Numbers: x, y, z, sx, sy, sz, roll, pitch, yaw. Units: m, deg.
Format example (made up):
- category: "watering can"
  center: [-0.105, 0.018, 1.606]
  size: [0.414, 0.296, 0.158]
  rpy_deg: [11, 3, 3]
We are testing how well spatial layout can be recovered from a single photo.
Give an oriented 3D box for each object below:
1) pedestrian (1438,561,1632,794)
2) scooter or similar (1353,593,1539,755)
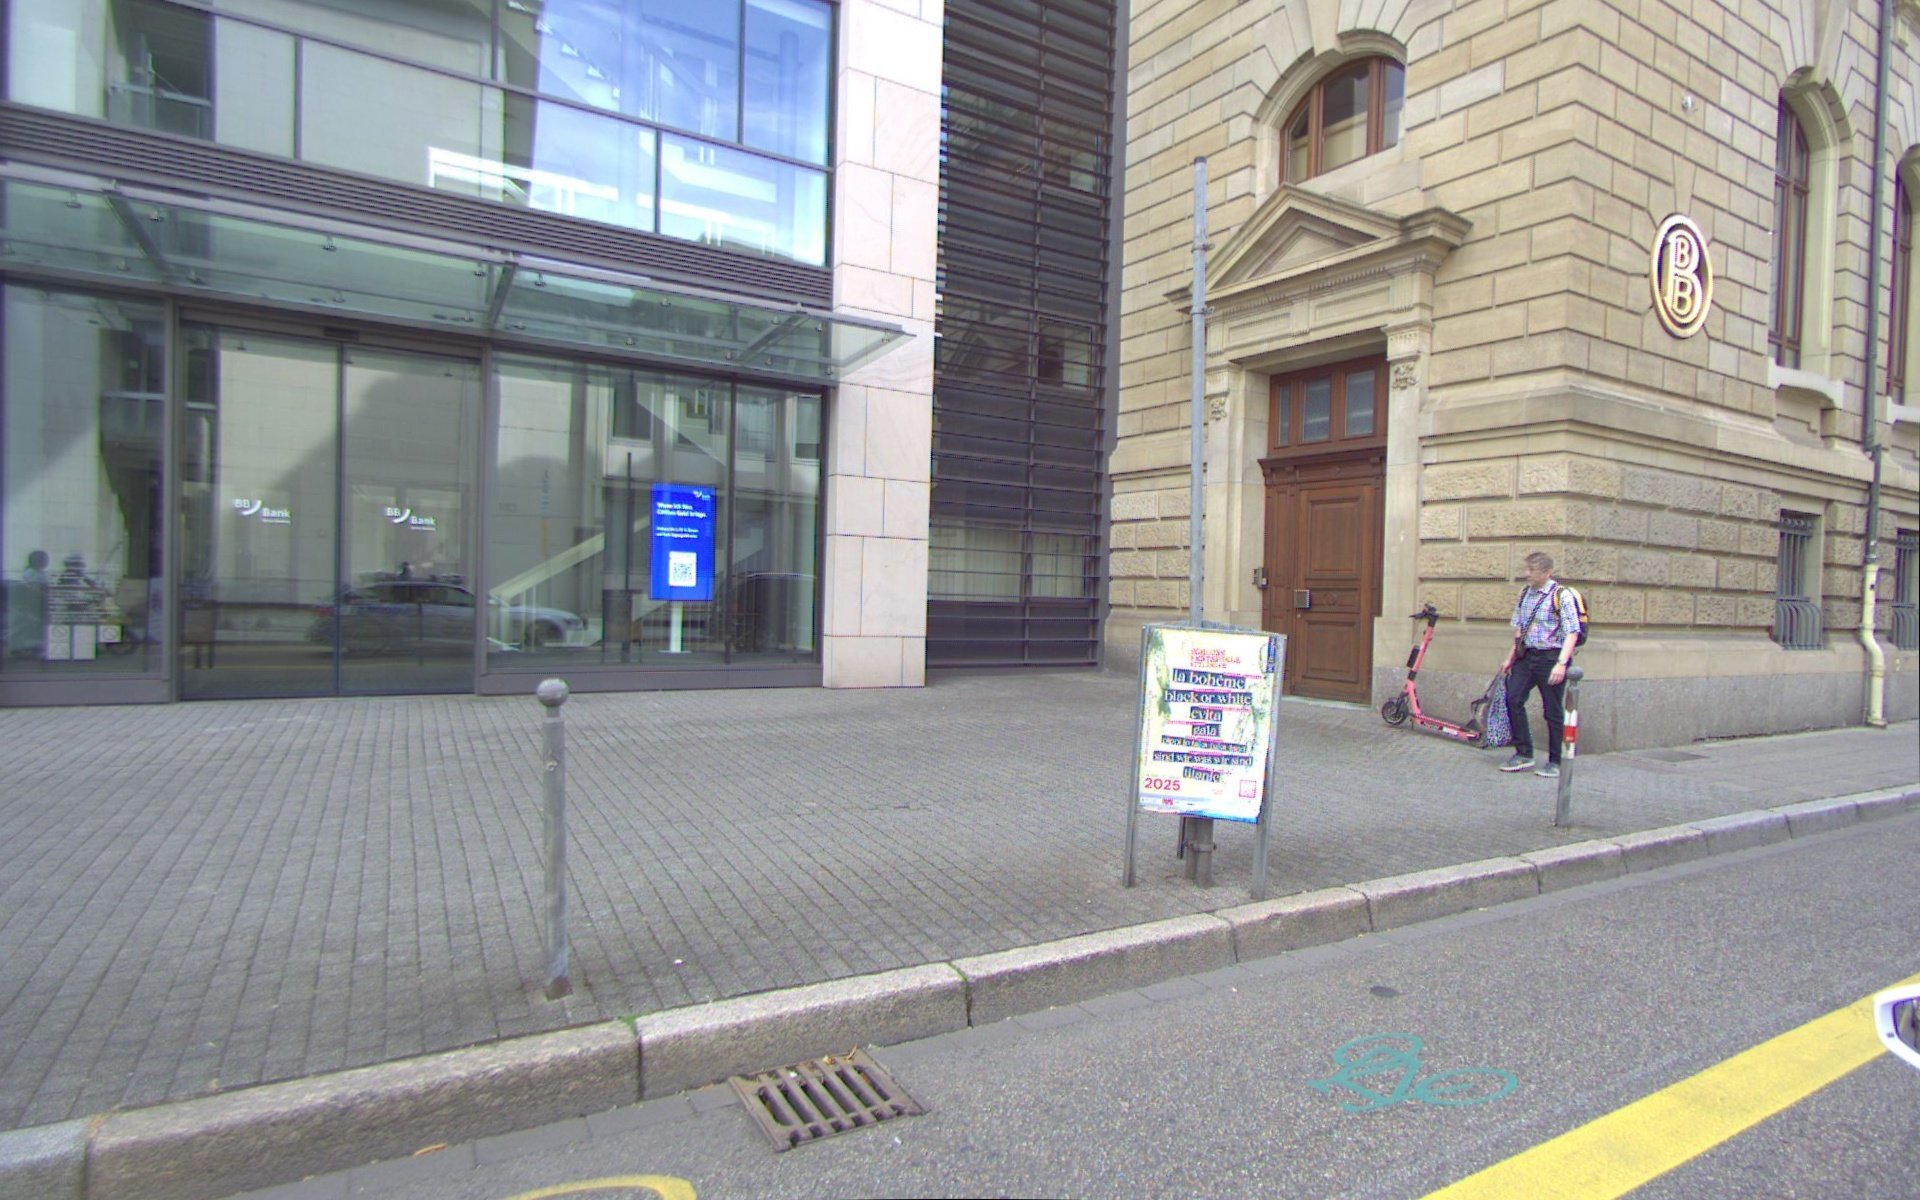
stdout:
- category: "pedestrian"
  center: [4.674, 0.581, 8.208]
  size: [0.809, 1.743, 1.021]
  rpy_deg: [2, 2, -30]
- category: "scooter or similar"
  center: [4.553, 0.640, 9.508]
  size: [0.580, 1.328, 1.439]
  rpy_deg: [0, 4, -30]
